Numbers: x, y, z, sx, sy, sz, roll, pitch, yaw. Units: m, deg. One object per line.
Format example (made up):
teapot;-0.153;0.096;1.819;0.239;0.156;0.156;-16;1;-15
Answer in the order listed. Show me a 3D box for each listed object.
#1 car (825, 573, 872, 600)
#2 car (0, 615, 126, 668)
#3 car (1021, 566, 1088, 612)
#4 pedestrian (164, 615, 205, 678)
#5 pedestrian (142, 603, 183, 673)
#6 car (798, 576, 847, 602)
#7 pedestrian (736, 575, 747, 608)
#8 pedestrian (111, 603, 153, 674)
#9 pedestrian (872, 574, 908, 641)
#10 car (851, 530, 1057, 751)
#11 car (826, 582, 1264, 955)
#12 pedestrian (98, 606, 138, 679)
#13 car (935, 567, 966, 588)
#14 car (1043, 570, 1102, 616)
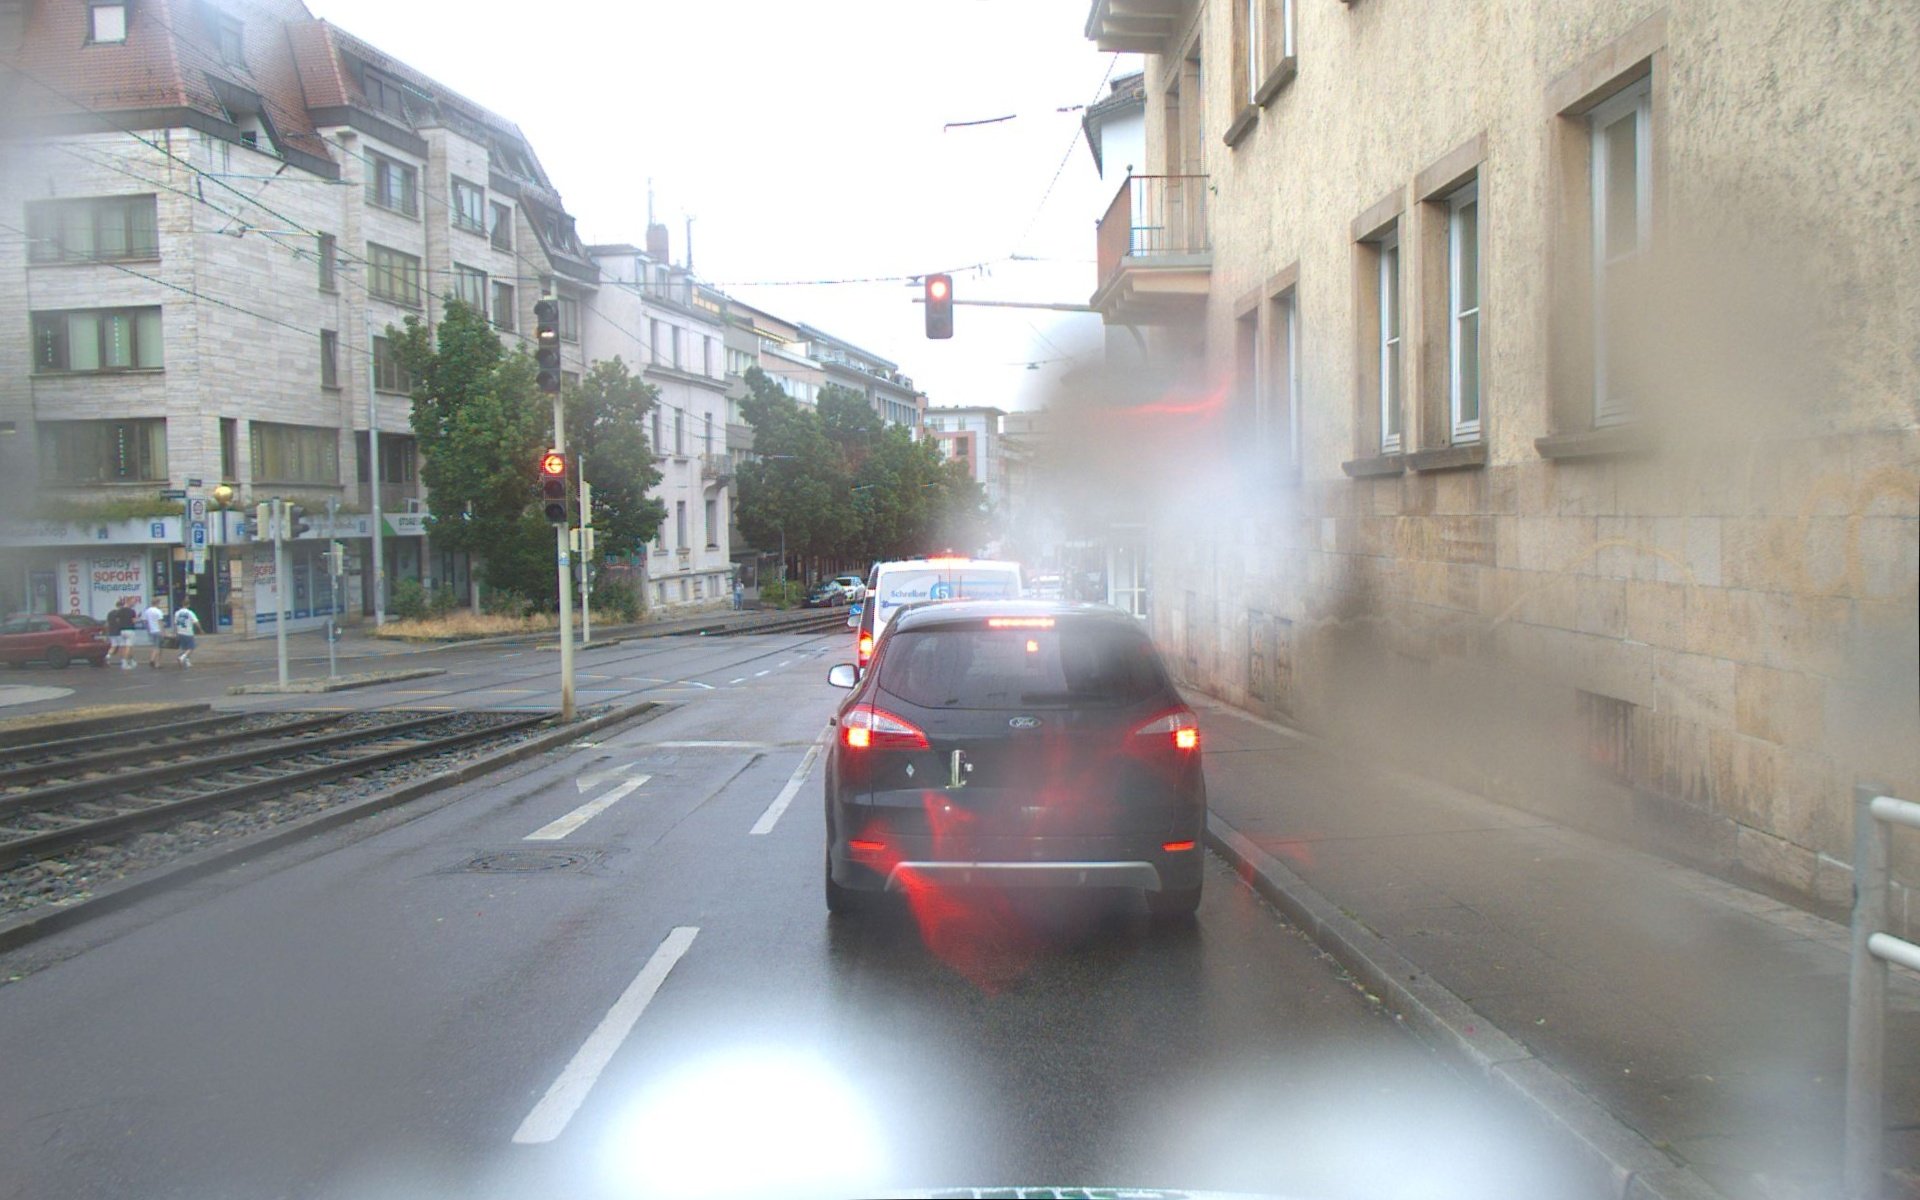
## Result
car;-6.783;-0.798;101.454;1.816;1.576;4.725;-1;0;10
car;-24.261;1.100;43.912;3.615;1.341;1.595;-1;-1;15
car;3.341;-0.380;57.675;1.763;1.481;4.590;-2;0;10
pedestrian;-19.608;1.168;41.831;0.634;1.576;0.684;1;-1;8
pedestrian;-20.300;0.968;42.124;0.634;1.754;0.684;1;-1;8
car;-7.877;-0.612;95.177;1.657;1.402;4.724;-1;-1;10
pedestrian;-11.150;-0.417;84.319;0.458;1.681;0.582;1;-1;-3
pedestrian;-21.131;0.976;42.220;0.634;1.780;0.684;1;-1;8
pedestrian;-1.981;0.214;46.755;0.911;1.862;0.960;1;-1;1
car;-0.119;0.396;18.081;1.948;2.096;4.643;0;0;-2
car;0.324;0.706;8.834;1.805;1.533;3.999;0;0;-1
pedestrian;-22.103;1.105;43.436;0.634;1.875;0.684;1;-1;8
car;-0.803;-1.917;141.202;1.816;1.665;4.939;-1;0;10
car;4.399;-0.269;64.200;1.806;1.661;4.590;-1;0;10
